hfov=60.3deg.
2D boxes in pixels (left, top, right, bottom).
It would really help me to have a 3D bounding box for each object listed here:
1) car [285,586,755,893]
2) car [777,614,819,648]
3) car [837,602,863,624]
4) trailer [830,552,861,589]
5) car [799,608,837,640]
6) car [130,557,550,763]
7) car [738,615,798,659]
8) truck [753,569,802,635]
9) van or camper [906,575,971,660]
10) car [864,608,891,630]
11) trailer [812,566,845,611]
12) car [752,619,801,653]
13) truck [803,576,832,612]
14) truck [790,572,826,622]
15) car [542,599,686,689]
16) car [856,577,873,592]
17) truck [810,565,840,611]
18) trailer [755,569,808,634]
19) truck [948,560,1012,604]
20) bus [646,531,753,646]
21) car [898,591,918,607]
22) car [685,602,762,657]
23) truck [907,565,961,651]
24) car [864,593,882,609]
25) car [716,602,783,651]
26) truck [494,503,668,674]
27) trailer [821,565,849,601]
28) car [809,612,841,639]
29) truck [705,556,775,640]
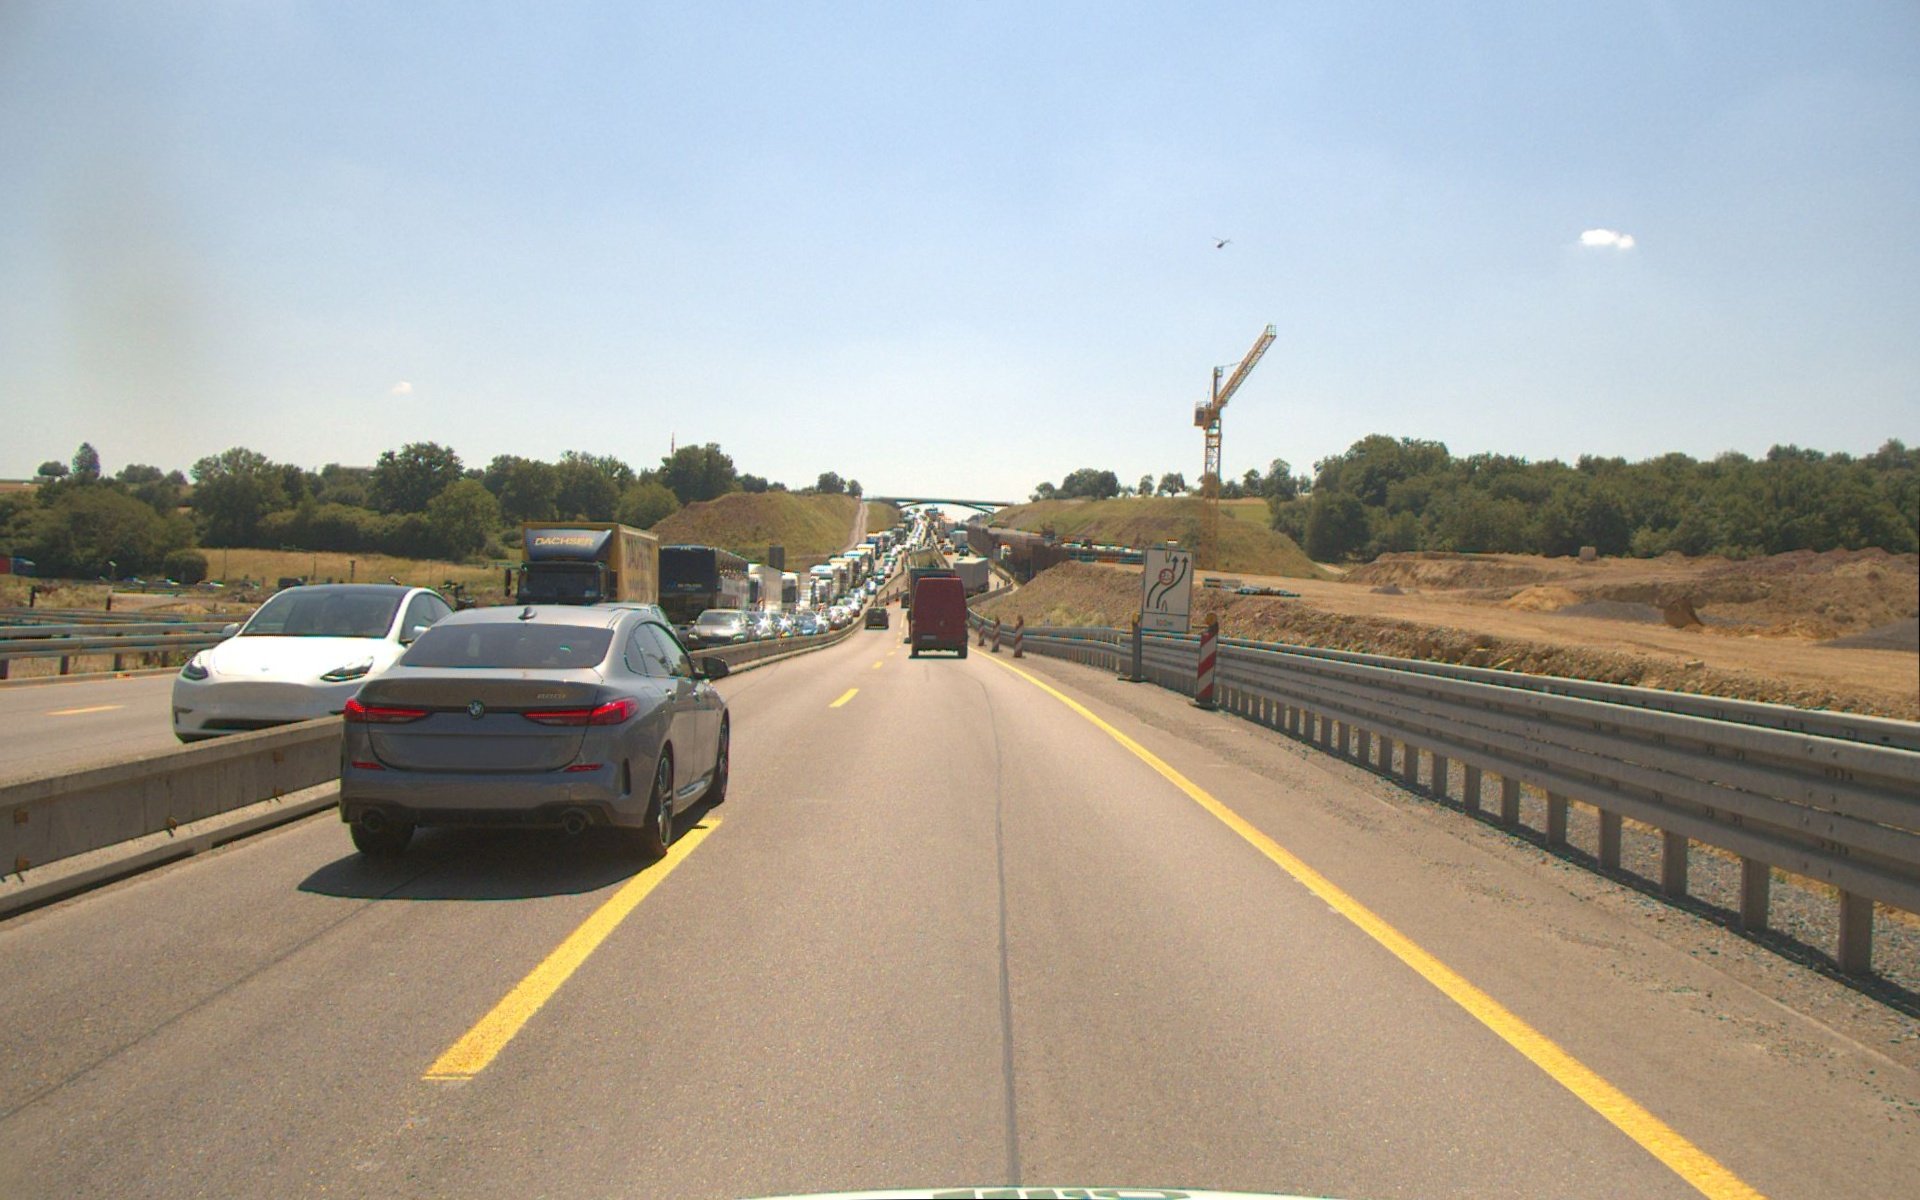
[{"bbox_3d":[-2.546,0.695,10.840,1.814,1.477,4.742,2,1,-1],"label":"car"},{"bbox_3d":[-8.076,1.550,82.931,1.776,1.462,5.118,2,1,-3],"label":"car"},{"bbox_3d":[-9.053,1.050,136.622,1.954,1.584,4.337,3,1,-2],"label":"car"},{"bbox_3d":[-14.788,-3.773,214.546,2.980,4.631,12.129,1,1,1],"label":"trailer"},{"bbox_3d":[-8.286,1.396,97.031,1.954,1.648,4.880,2,1,-2],"label":"car"},{"bbox_3d":[-6.169,0.485,17.438,2.324,1.756,5.780,1,1,-1],"label":"car"},{"bbox_3d":[-7.555,1.432,65.469,1.879,1.448,5.089,2,1,-2],"label":"car"},{"bbox_3d":[-12.231,0.148,110.962,2.918,4.258,5.869,1,0,-4],"label":"truck"},{"bbox_3d":[-0.795,0.552,57.307,1.989,2.792,4.512,1,1,-4],"label":"van or camper"},{"bbox_3d":[-6.318,1.445,126.810,1.972,1.572,4.130,1,1,-3],"label":"car"},{"bbox_3d":[-13.262,-1.221,167.233,2.542,4.331,12.464,1,0,-1],"label":"trailer"},{"bbox_3d":[-8.039,1.566,72.804,1.796,1.448,4.680,1,-1,-3],"label":"car"},{"bbox_3d":[-12.965,-0.594,151.238,2.385,3.203,7.020,0,1,-3],"label":"truck"},{"bbox_3d":[-12.561,-0.273,136.971,2.474,3.923,8.667,1,0,-3],"label":"truck"},{"bbox_3d":[-6.659,0.792,32.363,1.844,1.457,5.123,2,1,-2],"label":"car"},{"bbox_3d":[-11.602,-1.885,200.581,1.954,1.814,3.998,2,1,-4],"label":"car"},{"bbox_3d":[-13.071,-1.185,160.521,2.499,4.305,6.528,1,1,-2],"label":"truck"},{"bbox_3d":[-12.633,0.128,118.386,2.926,4.282,13.937,1,0,-3],"label":"trailer"},{"bbox_3d":[2.563,-2.196,201.205,5.050,5.084,13.888,2,1,11],"label":"truck"},{"bbox_3d":[-10.913,-0.561,70.790,2.684,4.338,14.471,2,1,-2],"label":"bus"},{"bbox_3d":[-5.453,-0.114,173.941,1.972,1.572,4.131,2,1,-2],"label":"car"},{"bbox_3d":[-7.013,0.853,49.484,1.822,1.520,4.901,-1,0,-3],"label":"car"},{"bbox_3d":[-1.438,0.393,95.422,2.959,4.775,6.932,-1,1,0],"label":"truck"},{"bbox_3d":[-8.985,0.090,170.642,1.790,1.562,4.544,0,1,-2],"label":"car"},{"bbox_3d":[-7.258,0.878,57.431,1.801,1.469,4.928,2,1,-2],"label":"car"},{"bbox_3d":[-10.446,-0.229,46.731,2.746,4.225,10.075,2,-1,-2],"label":"truck"},{"bbox_3d":[-14.299,-1.856,189.606,2.727,4.000,11.003,1,0,-2],"label":"trailer"},{"bbox_3d":[-9.289,1.737,113.996,1.954,1.659,4.756,2,1,-3],"label":"car"},{"bbox_3d":[-11.662,-0.121,88.263,3.035,4.271,6.698,1,0,-3],"label":"truck"}]
